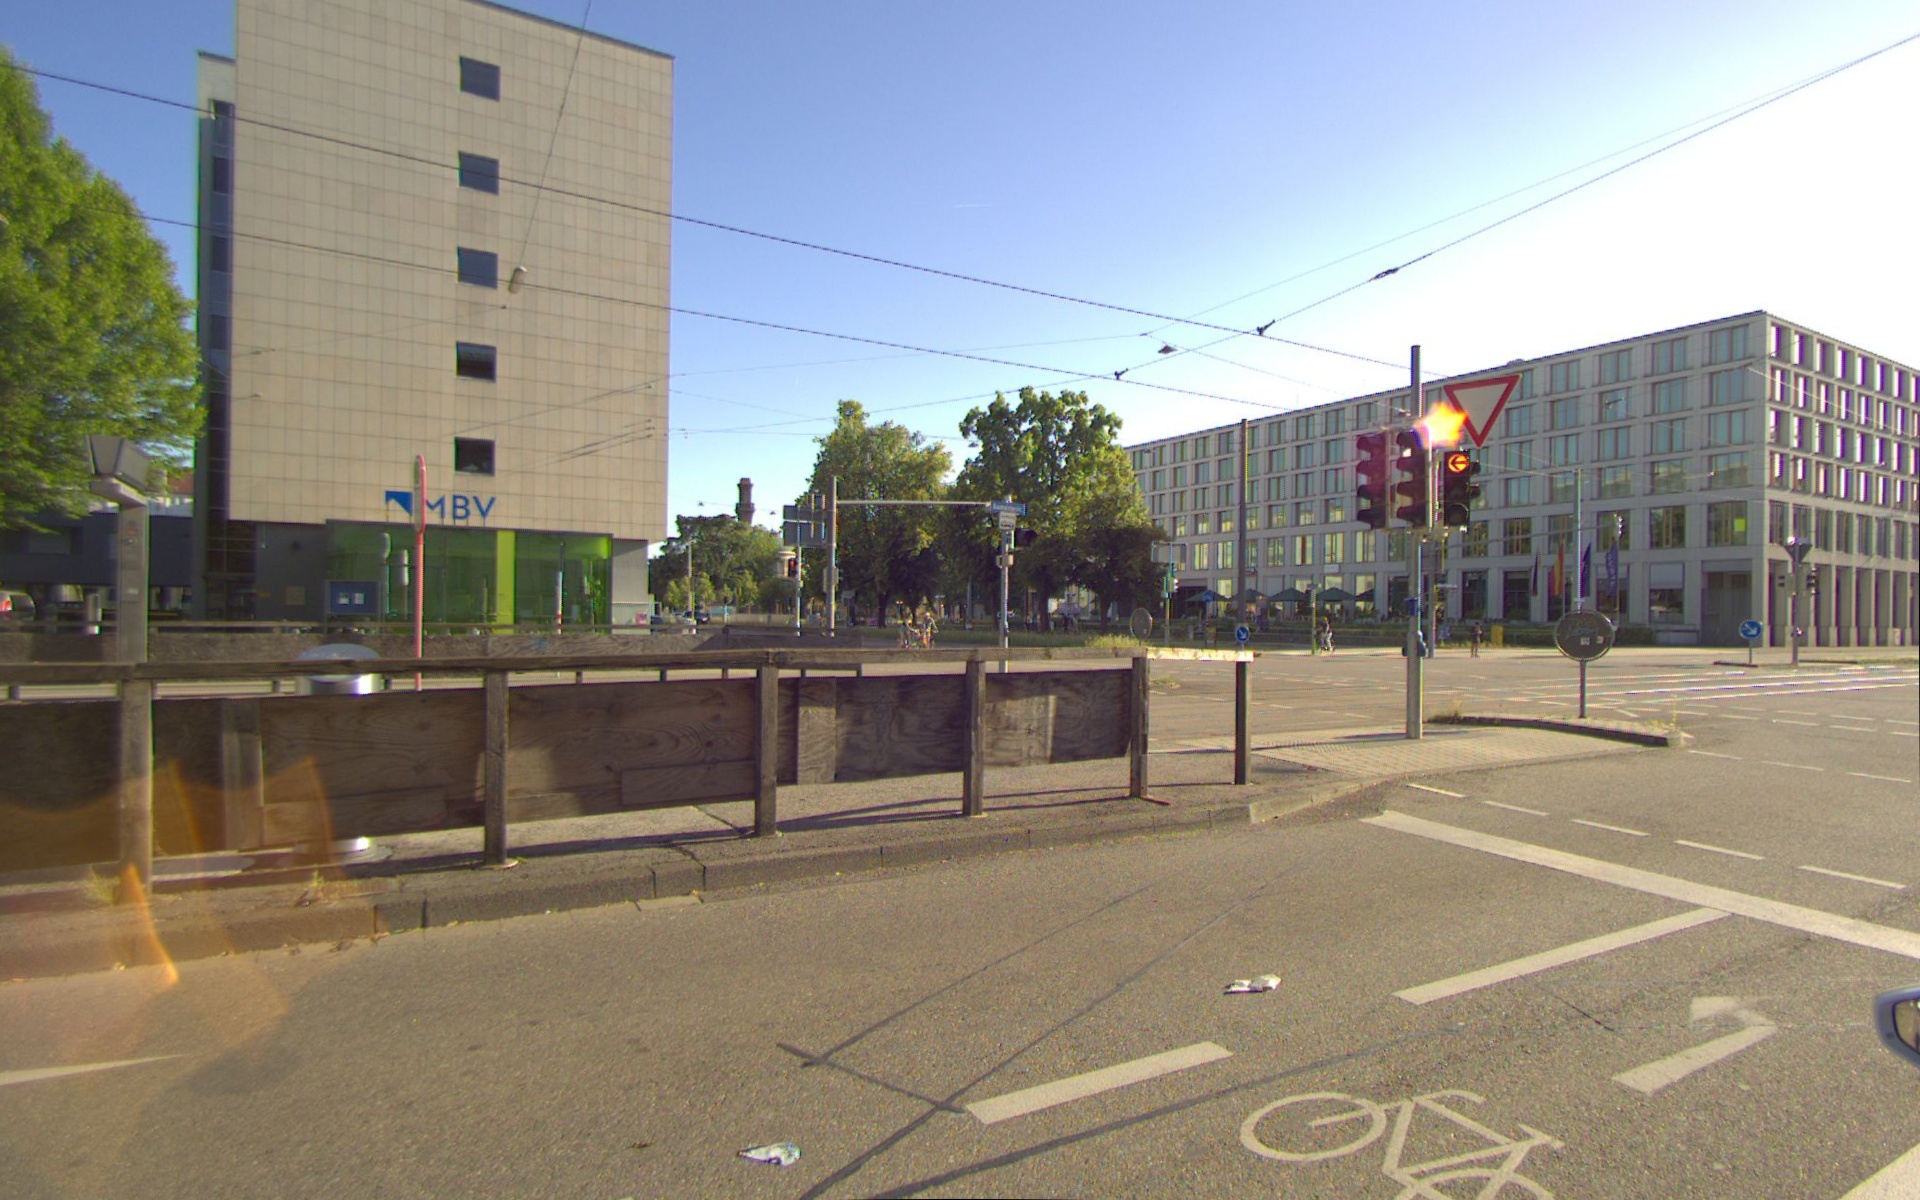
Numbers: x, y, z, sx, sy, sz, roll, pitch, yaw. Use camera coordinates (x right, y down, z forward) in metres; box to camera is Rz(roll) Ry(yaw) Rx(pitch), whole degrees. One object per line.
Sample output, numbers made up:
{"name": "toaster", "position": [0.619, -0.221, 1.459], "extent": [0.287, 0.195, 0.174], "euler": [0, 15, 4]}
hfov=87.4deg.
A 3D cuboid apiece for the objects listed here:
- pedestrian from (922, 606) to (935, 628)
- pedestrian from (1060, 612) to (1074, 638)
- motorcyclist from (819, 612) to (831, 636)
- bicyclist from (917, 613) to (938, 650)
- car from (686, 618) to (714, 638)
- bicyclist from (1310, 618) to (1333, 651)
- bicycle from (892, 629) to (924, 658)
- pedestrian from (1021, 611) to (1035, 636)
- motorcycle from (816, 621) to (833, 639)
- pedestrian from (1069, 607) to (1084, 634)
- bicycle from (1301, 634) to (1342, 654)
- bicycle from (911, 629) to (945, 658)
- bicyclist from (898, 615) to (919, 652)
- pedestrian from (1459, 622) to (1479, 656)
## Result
{"name": "pedestrian", "position": [-2.986, 1.642, 94.886], "extent": [0.816, 2.040, 0.837], "euler": [2, 0, -32]}
{"name": "pedestrian", "position": [8.141, 1.905, 76.433], "extent": [0.861, 1.925, 0.714], "euler": [2, 0, -20]}
{"name": "motorcyclist", "position": [-8.984, 1.606, 66.684], "extent": [0.561, 1.598, 0.642], "euler": [1, -1, -36]}
{"name": "bicyclist", "position": [-1.356, 1.333, 42.480], "extent": [0.602, 1.544, 0.709], "euler": [1, -1, -32]}
{"name": "car", "position": [-23.868, 2.539, 92.048], "extent": [1.611, 1.639, 3.623], "euler": [2, 0, -28]}
{"name": "bicyclist", "position": [17.784, 1.678, 49.396], "extent": [0.764, 1.610, 0.759], "euler": [1, -1, -14]}
{"name": "bicycle", "position": [-2.170, 1.788, 41.788], "extent": [0.574, 1.148, 1.776], "euler": [1, -1, -31]}
{"name": "pedestrian", "position": [5.379, 1.837, 79.741], "extent": [0.863, 1.925, 0.713], "euler": [2, 0, -26]}
{"name": "motorcycle", "position": [-8.983, 1.987, 66.672], "extent": [0.524, 1.153, 1.449], "euler": [1, -1, -34]}
{"name": "pedestrian", "position": [8.977, 1.550, 77.613], "extent": [0.812, 2.040, 0.841], "euler": [2, 0, -20]}
{"name": "bicycle", "position": [17.794, 2.174, 49.386], "extent": [1.835, 0.947, 0.759], "euler": [1, -1, -20]}
{"name": "bicycle", "position": [-1.374, 1.824, 42.488], "extent": [0.616, 1.148, 1.869], "euler": [1, -1, -31]}
{"name": "bicyclist", "position": [-2.161, 1.383, 41.794], "extent": [0.647, 1.544, 0.615], "euler": [1, -1, -32]}
{"name": "pedestrian", "position": [24.877, 1.904, 49.072], "extent": [0.766, 1.610, 0.588], "euler": [0, -1, 42]}
